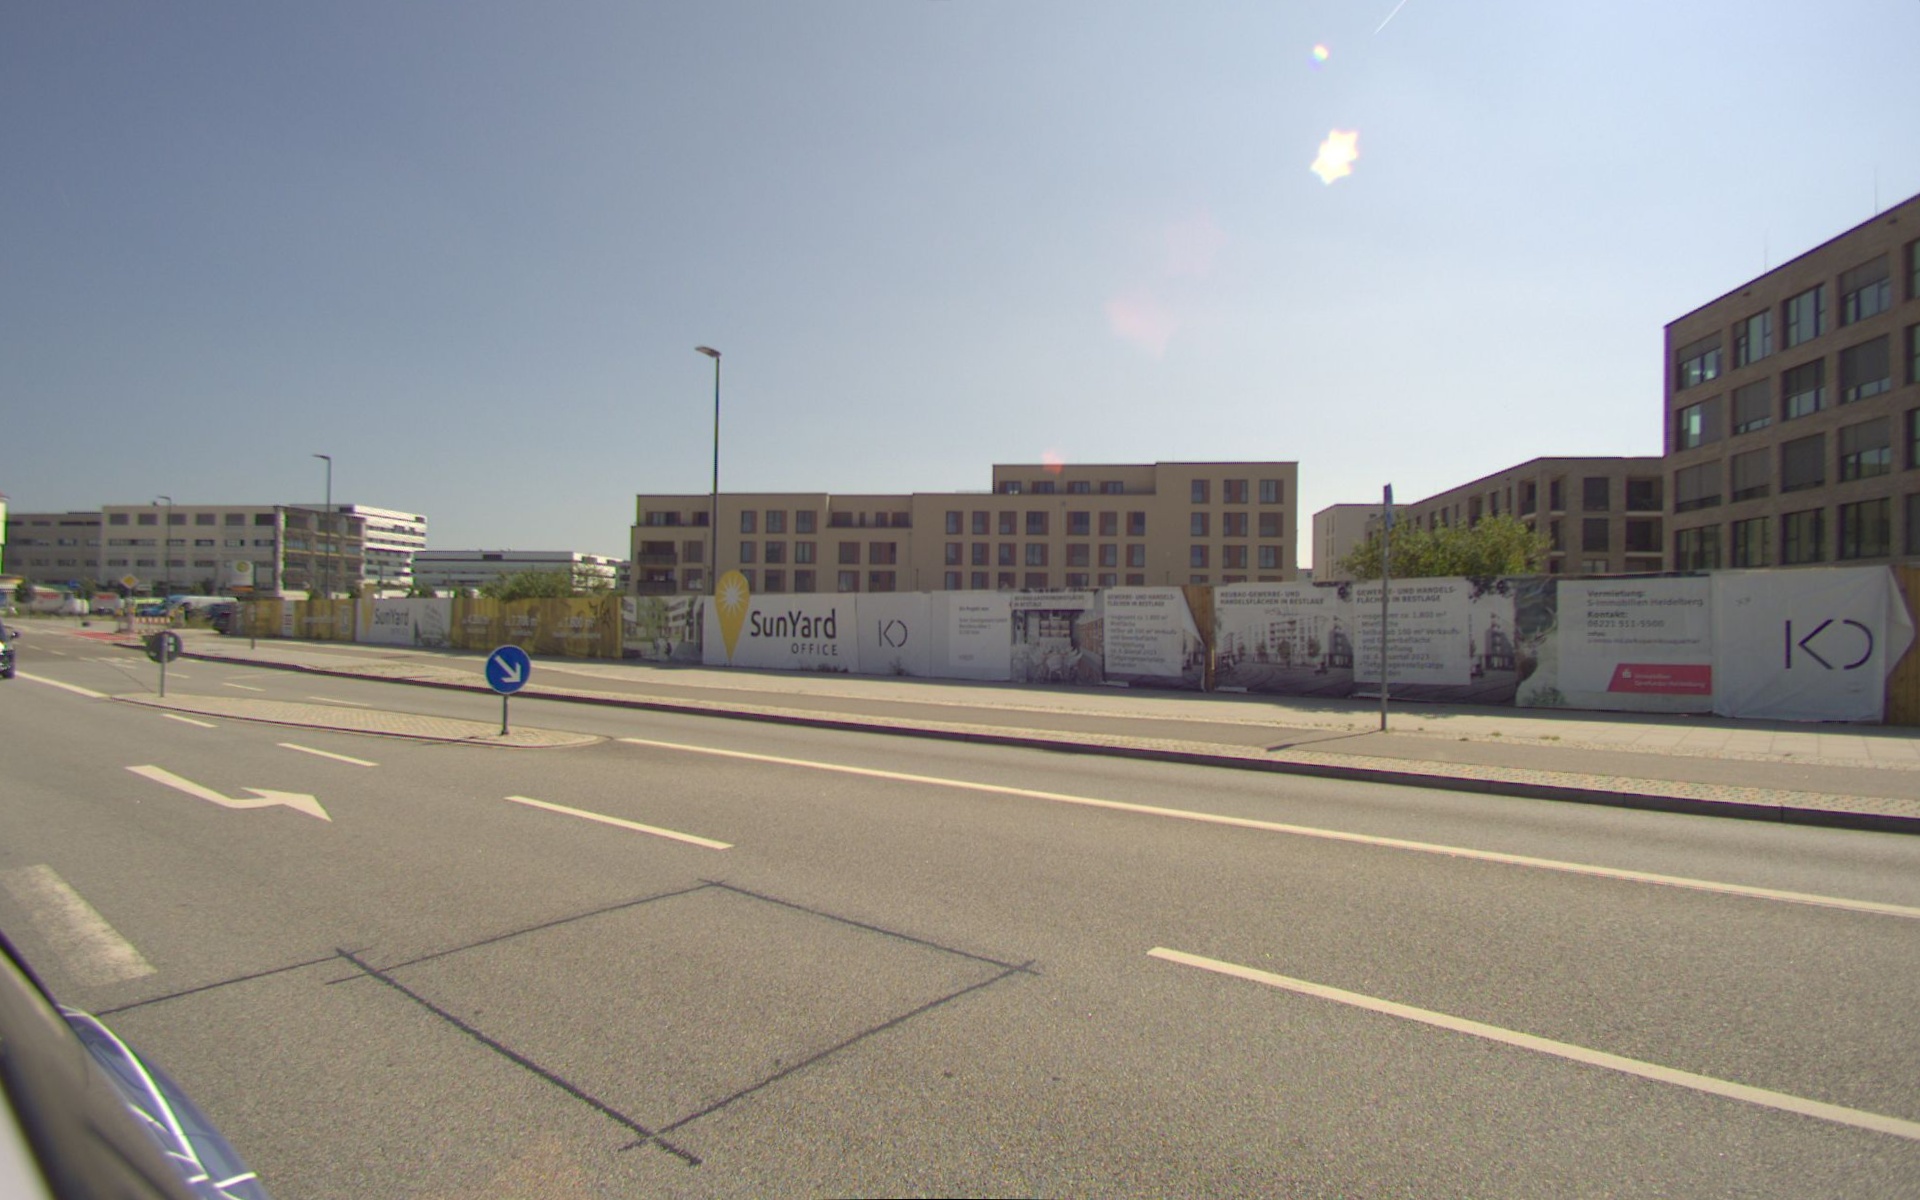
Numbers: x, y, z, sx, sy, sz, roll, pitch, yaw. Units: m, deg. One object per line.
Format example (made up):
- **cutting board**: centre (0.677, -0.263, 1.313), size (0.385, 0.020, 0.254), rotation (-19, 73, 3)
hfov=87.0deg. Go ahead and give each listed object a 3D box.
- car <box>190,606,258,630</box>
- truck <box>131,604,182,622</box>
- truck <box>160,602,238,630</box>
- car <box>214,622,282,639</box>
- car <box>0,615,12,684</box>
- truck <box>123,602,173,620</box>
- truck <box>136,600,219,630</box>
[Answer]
- **car**: centre (-57.547, 1.401, 79.169), size (1.888, 1.731, 3.884), rotation (-1, 0, 35)
- **truck**: centre (-111.574, 1.772, 140.566), size (1.996, 2.494, 5.269), rotation (-1, 0, 36)
- **truck**: centre (-64.294, 1.298, 85.609), size (1.998, 2.245, 4.942), rotation (-1, 0, 39)
- **car**: centre (-45.335, 1.911, 64.477), size (1.293, 0.960, 3.315), rotation (-1, 0, 43)
- **car**: centre (-24.624, 1.180, 24.684), size (3.914, 1.634, 1.785), rotation (-1, -1, 41)
- **truck**: centre (-117.036, 1.634, 145.982), size (1.998, 2.494, 5.345), rotation (-1, 0, 39)
- **truck**: centre (-69.881, 1.324, 90.437), size (1.996, 2.494, 5.566), rotation (-1, 0, 36)
